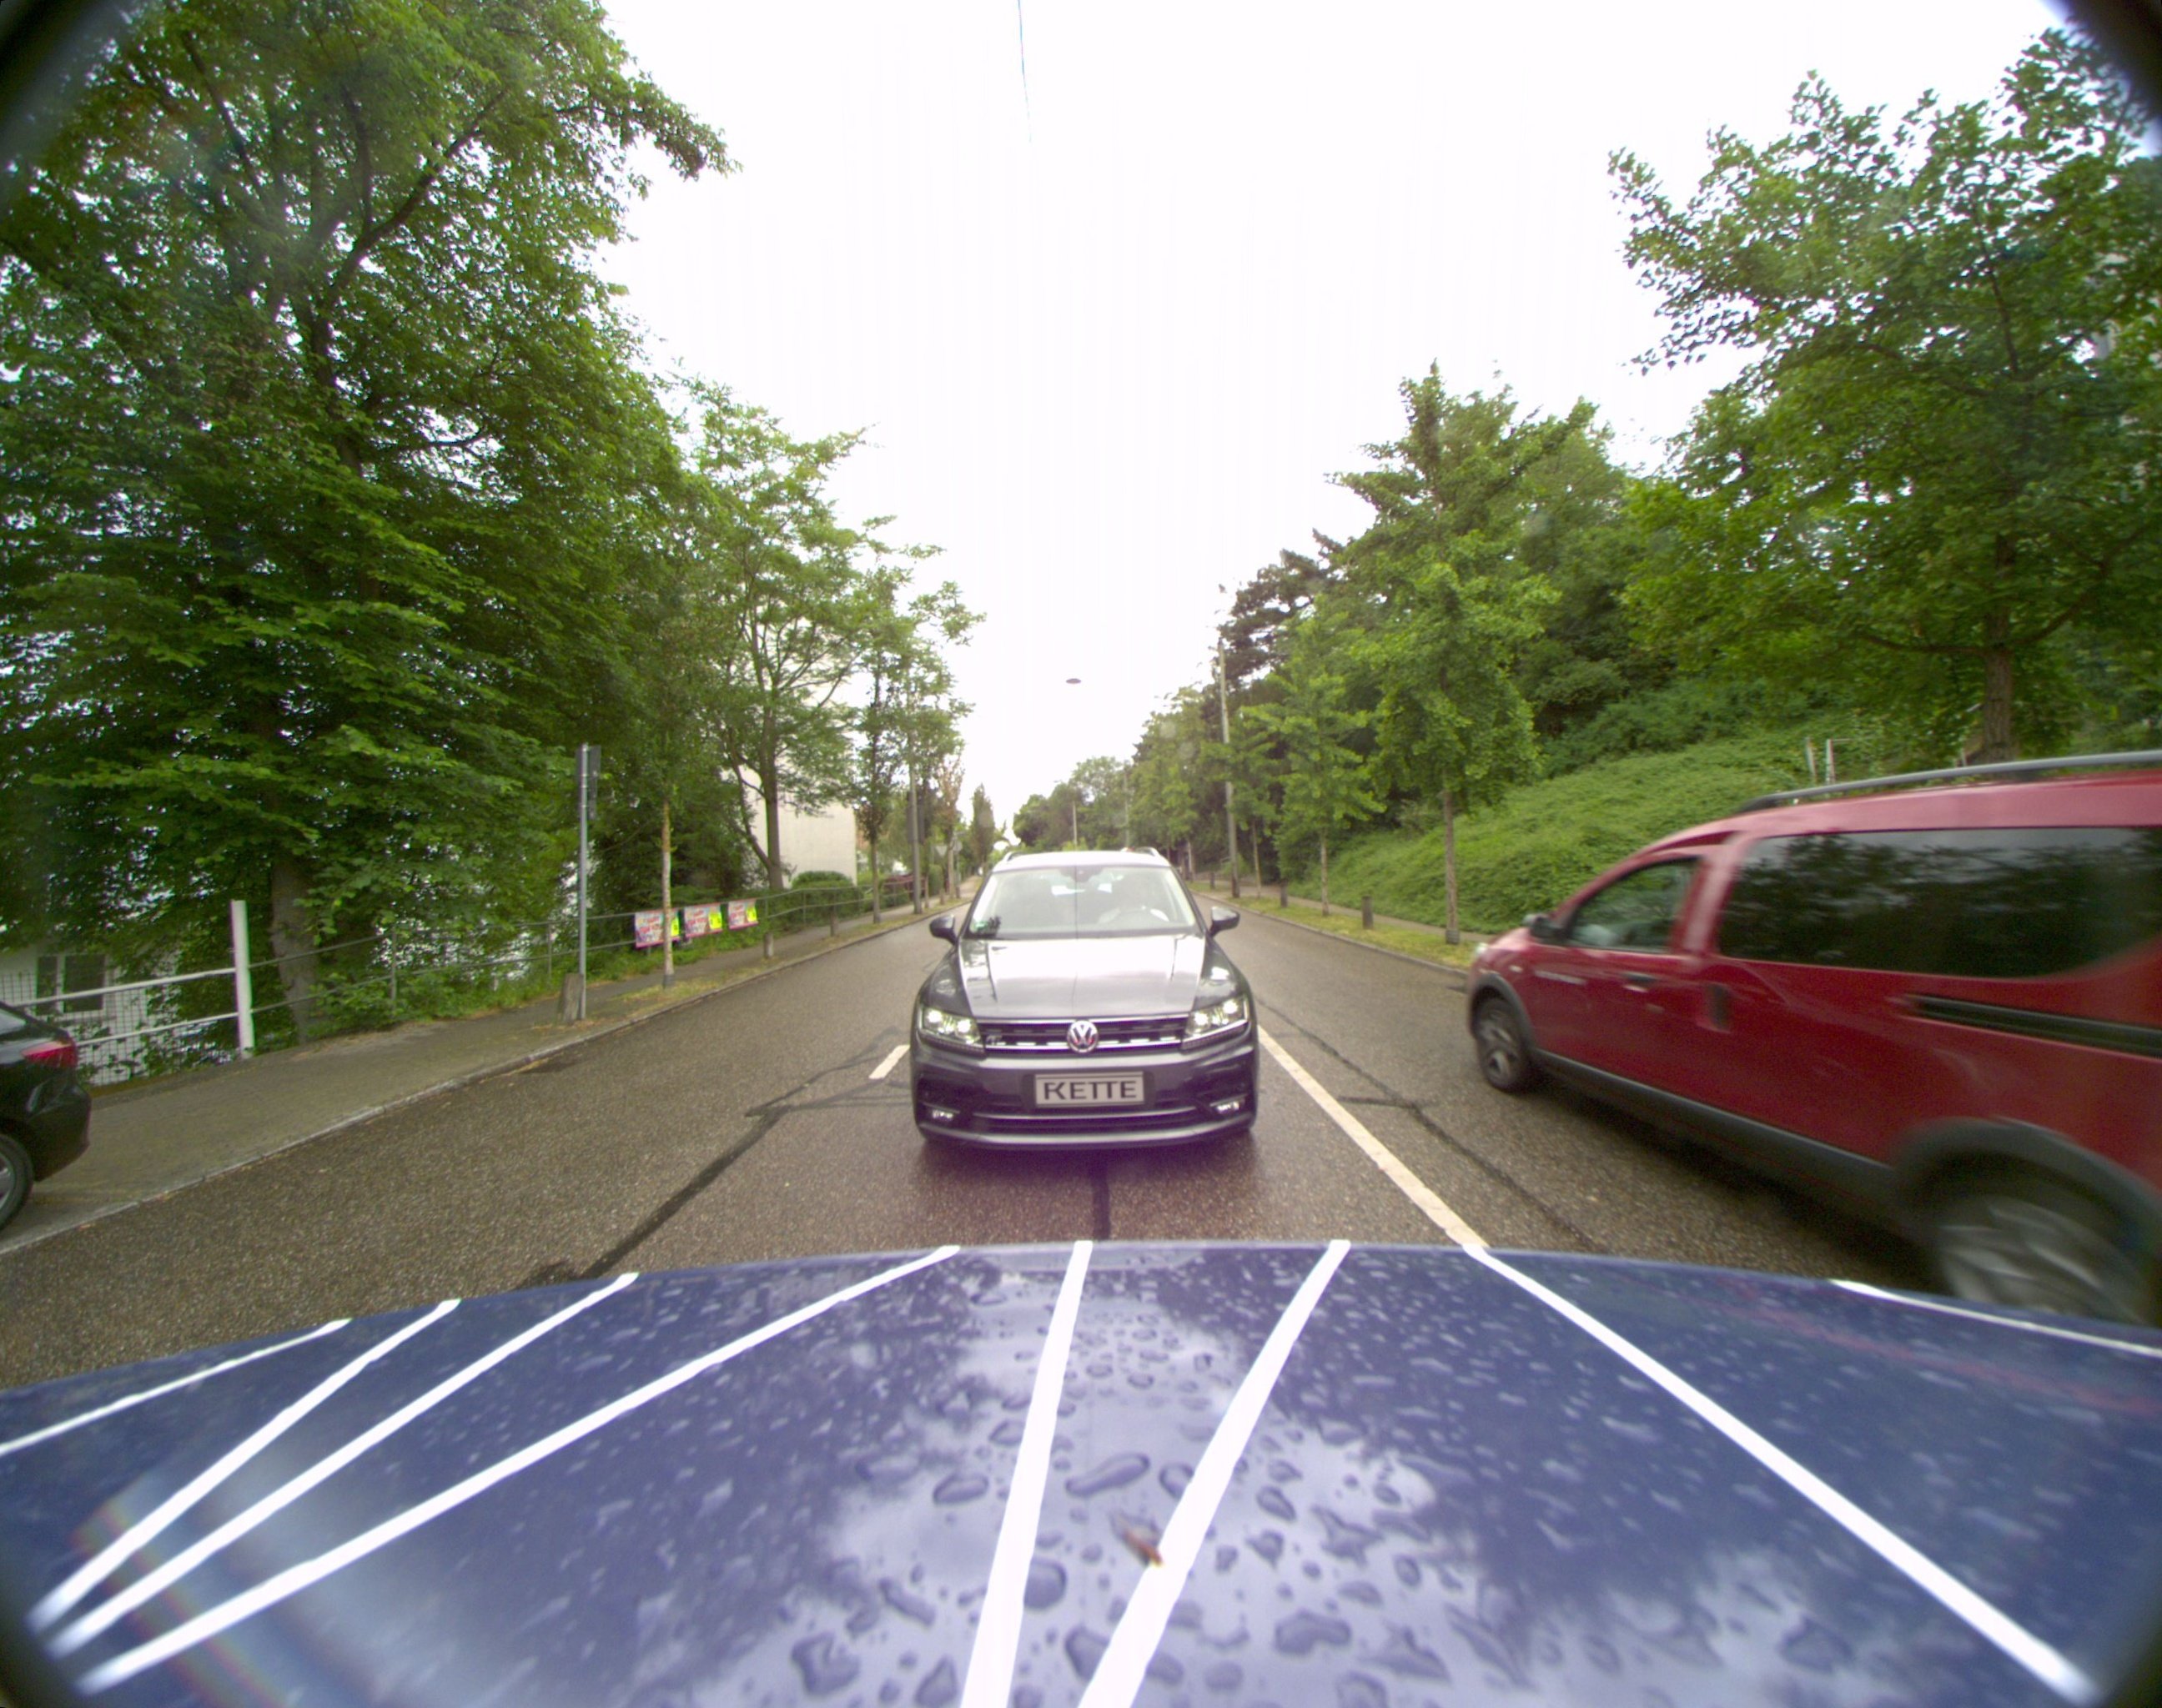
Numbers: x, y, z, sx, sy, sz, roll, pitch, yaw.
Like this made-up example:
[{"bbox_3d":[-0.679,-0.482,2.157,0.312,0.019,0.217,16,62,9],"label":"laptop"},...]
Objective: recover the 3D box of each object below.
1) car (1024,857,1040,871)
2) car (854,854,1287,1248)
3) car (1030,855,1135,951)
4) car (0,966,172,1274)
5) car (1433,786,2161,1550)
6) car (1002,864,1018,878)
[{"bbox_3d":[-7.200,1.455,111.544,1.835,2.003,4.054,-3,1,-8],"label":"car"},{"bbox_3d":[-0.016,0.878,5.501,1.834,1.608,4.292,-3,1,1],"label":"car"},{"bbox_3d":[0.058,0.892,16.041,1.834,1.608,4.350,-3,1,1],"label":"car"},{"bbox_3d":[-6.343,1.389,2.240,1.999,1.426,4.442,-1,0,-1],"label":"car"},{"bbox_3d":[3.461,0.726,3.409,1.751,1.817,4.458,-1,1,1],"label":"car"},{"bbox_3d":[-9.341,2.221,99.345,1.893,1.710,4.234,-1,1,-7],"label":"car"}]
